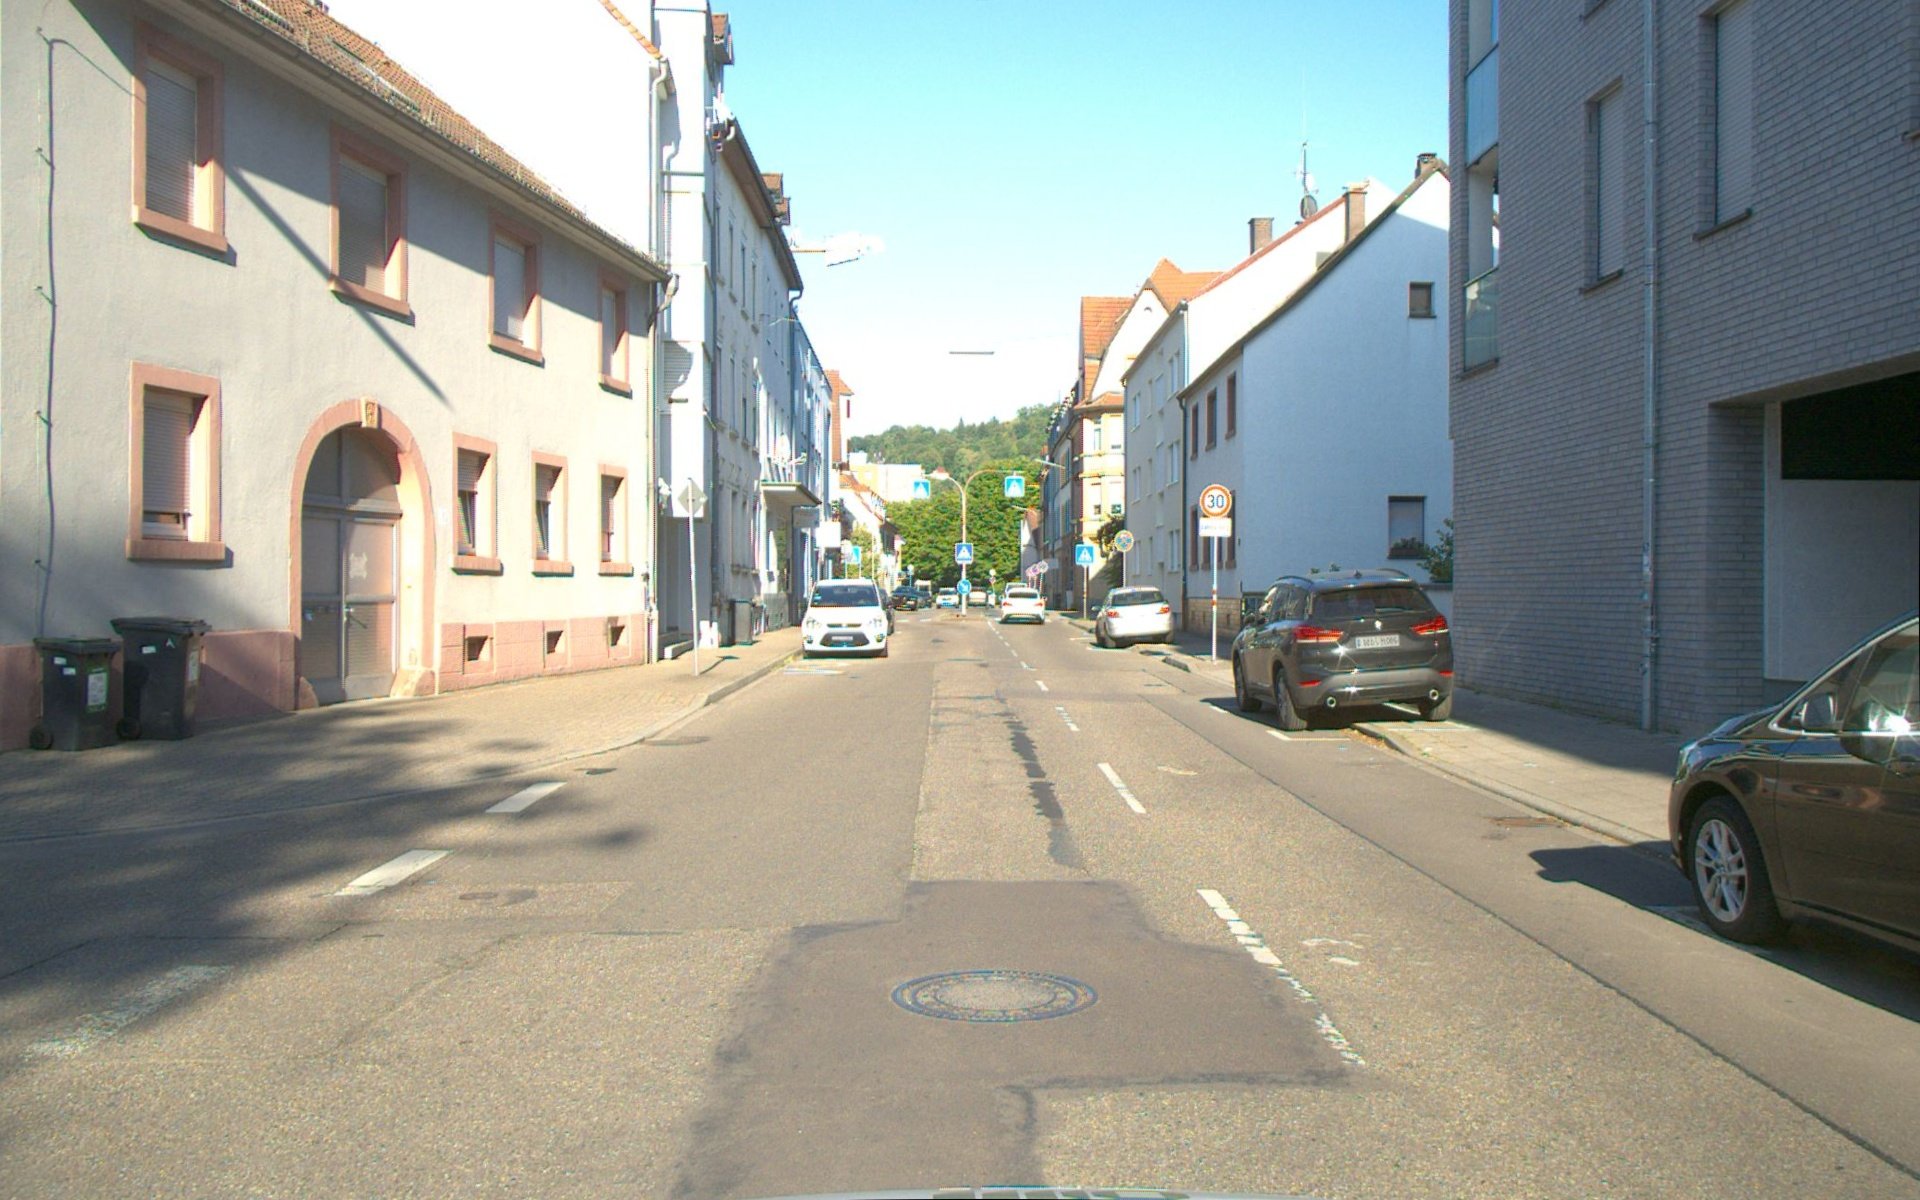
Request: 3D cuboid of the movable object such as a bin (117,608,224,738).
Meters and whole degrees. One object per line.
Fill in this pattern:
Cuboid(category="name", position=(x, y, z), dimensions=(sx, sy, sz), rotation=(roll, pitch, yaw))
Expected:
Cuboid(category="movable object such as a bin", position=(-7.025, 0.635, 14.747), dimensions=(0.586, 1.113, 0.751), rotation=(1, 0, 0))

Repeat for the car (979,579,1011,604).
Cuboid(category="car", position=(2.918, -0.709, 139.311), dimensions=(1.957, 2.049, 3.990), rotation=(0, 1, -10))

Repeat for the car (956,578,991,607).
Cuboid(category="car", position=(0.999, -0.544, 121.230), dimensions=(1.956, 2.049, 3.992), rotation=(-1, 1, -9))

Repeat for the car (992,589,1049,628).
Cuboid(category="car", position=(2.419, 0.309, 66.617), dimensions=(1.954, 1.492, 3.998), rotation=(-1, 0, -3))

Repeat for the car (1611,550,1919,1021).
Cuboid(category="car", position=(4.395, 0.656, 6.051), dimensions=(1.954, 1.682, 4.760), rotation=(0, 1, -3))

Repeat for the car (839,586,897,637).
Cuboid(category="car", position=(-2.893, 0.346, 52.663), dimensions=(1.696, 1.525, 3.958), rotation=(-1, 0, -2))

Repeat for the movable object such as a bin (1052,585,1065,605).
Cuboid(category="movable object such as a bin", position=(7.009, -0.377, 117.820), dimensions=(0.854, 1.401, 0.684), rotation=(-2, 1, -5))

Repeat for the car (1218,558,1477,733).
Cuboid(category="car", position=(4.267, 0.414, 18.961), dimensions=(1.817, 1.664, 4.623), rotation=(-3, 1, 0))

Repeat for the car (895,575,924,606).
Cuboid(category="car", position=(-3.478, -0.680, 112.756), dimensions=(1.953, 2.049, 3.999), rotation=(0, 1, -2))

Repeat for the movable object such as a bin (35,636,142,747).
Cuboid(category="movable object such as a bin", position=(-7.299, 0.760, 13.871), dimensions=(0.586, 0.887, 0.606), rotation=(0, 0, -3))

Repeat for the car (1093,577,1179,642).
Cuboid(category="car", position=(4.446, 0.207, 42.354), dimensions=(1.705, 1.518, 4.439), rotation=(-2, 1, 0))

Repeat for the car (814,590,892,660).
Cuboid(category="car", position=(-2.584, 0.572, 40.539), dimensions=(1.729, 1.521, 4.125), rotation=(-2, 1, -2))

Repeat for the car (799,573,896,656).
Cuboid(category="car", position=(-2.423, 0.257, 36.132), dimensions=(1.954, 1.676, 5.218), rotation=(0, 1, -3))

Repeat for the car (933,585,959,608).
Cuboid(category="car", position=(-1.124, -0.307, 132.673), dimensions=(1.772, 1.731, 4.189), rotation=(-2, 1, -4))
